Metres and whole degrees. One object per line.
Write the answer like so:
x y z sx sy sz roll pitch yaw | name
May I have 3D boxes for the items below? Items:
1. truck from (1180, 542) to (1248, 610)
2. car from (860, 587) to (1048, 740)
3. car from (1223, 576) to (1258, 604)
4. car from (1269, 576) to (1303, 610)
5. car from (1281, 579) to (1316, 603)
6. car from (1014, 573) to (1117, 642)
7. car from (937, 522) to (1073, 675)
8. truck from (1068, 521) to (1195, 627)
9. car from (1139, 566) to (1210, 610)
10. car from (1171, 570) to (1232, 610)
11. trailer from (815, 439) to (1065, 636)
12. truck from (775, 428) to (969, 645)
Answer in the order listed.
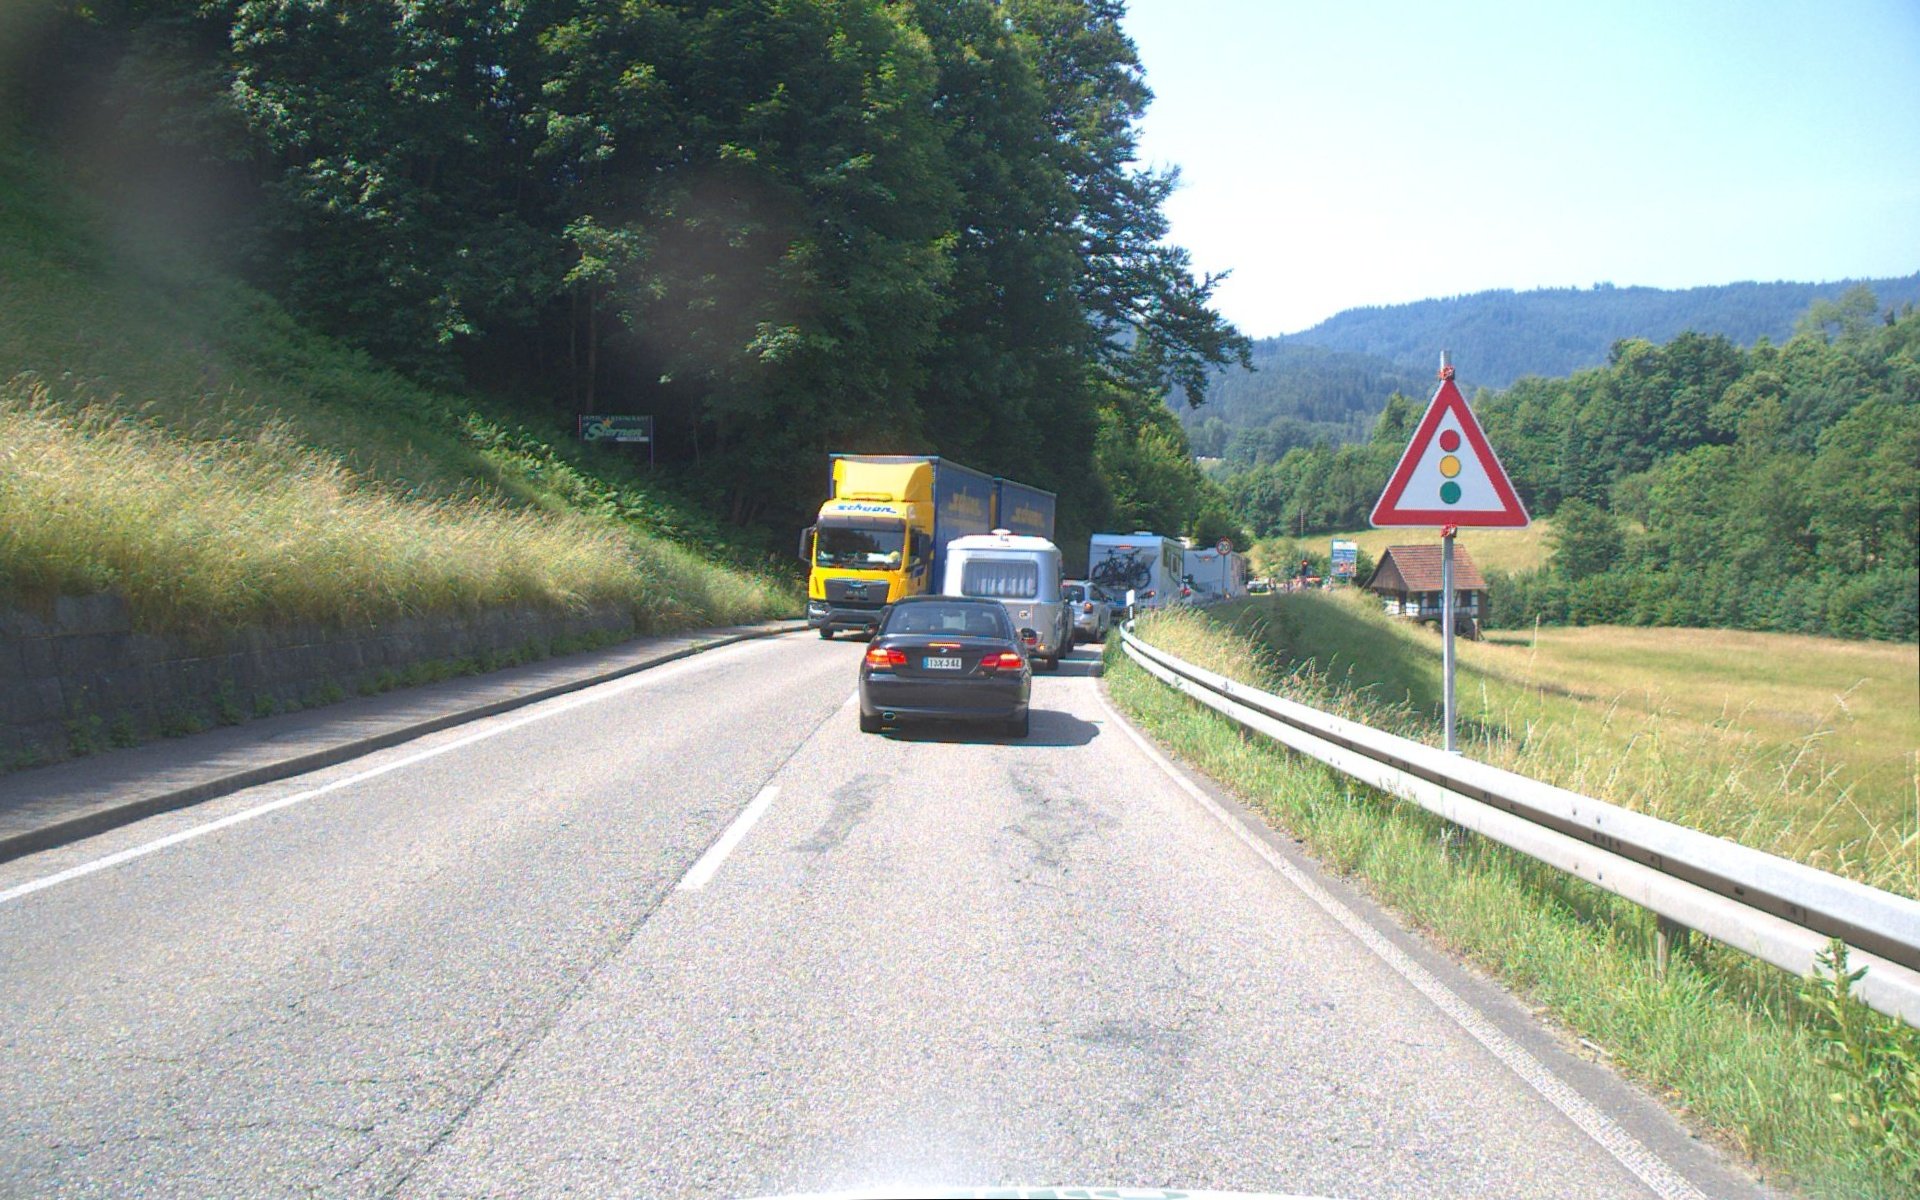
11.621 -1.044 75.326 2.190 2.853 6.236 2 0 16 | truck
-0.136 0.590 17.474 1.736 1.359 3.765 2 1 -3 | car
16.497 -0.548 97.218 1.866 1.512 4.003 2 0 11 | car
21.079 -0.430 106.743 1.952 1.958 4.003 5 0 12 | car
25.375 -0.673 123.924 1.952 1.603 4.001 2 0 20 | car
2.673 0.151 41.144 1.951 1.510 4.004 3 1 11 | car
0.886 -0.103 28.998 1.951 2.393 4.918 2 2 6 | car
5.630 -0.845 53.211 2.732 3.049 6.873 4 2 16 | truck
8.215 -0.482 63.138 1.952 1.489 4.003 4 2 17 | car
10.031 -0.445 68.618 1.750 1.489 4.002 4 2 18 | car
-0.020 -1.615 46.170 3.190 4.494 15.329 2 1 13 | trailer
-1.866 -1.451 38.416 3.121 4.472 6.578 3 2 8 | truck
